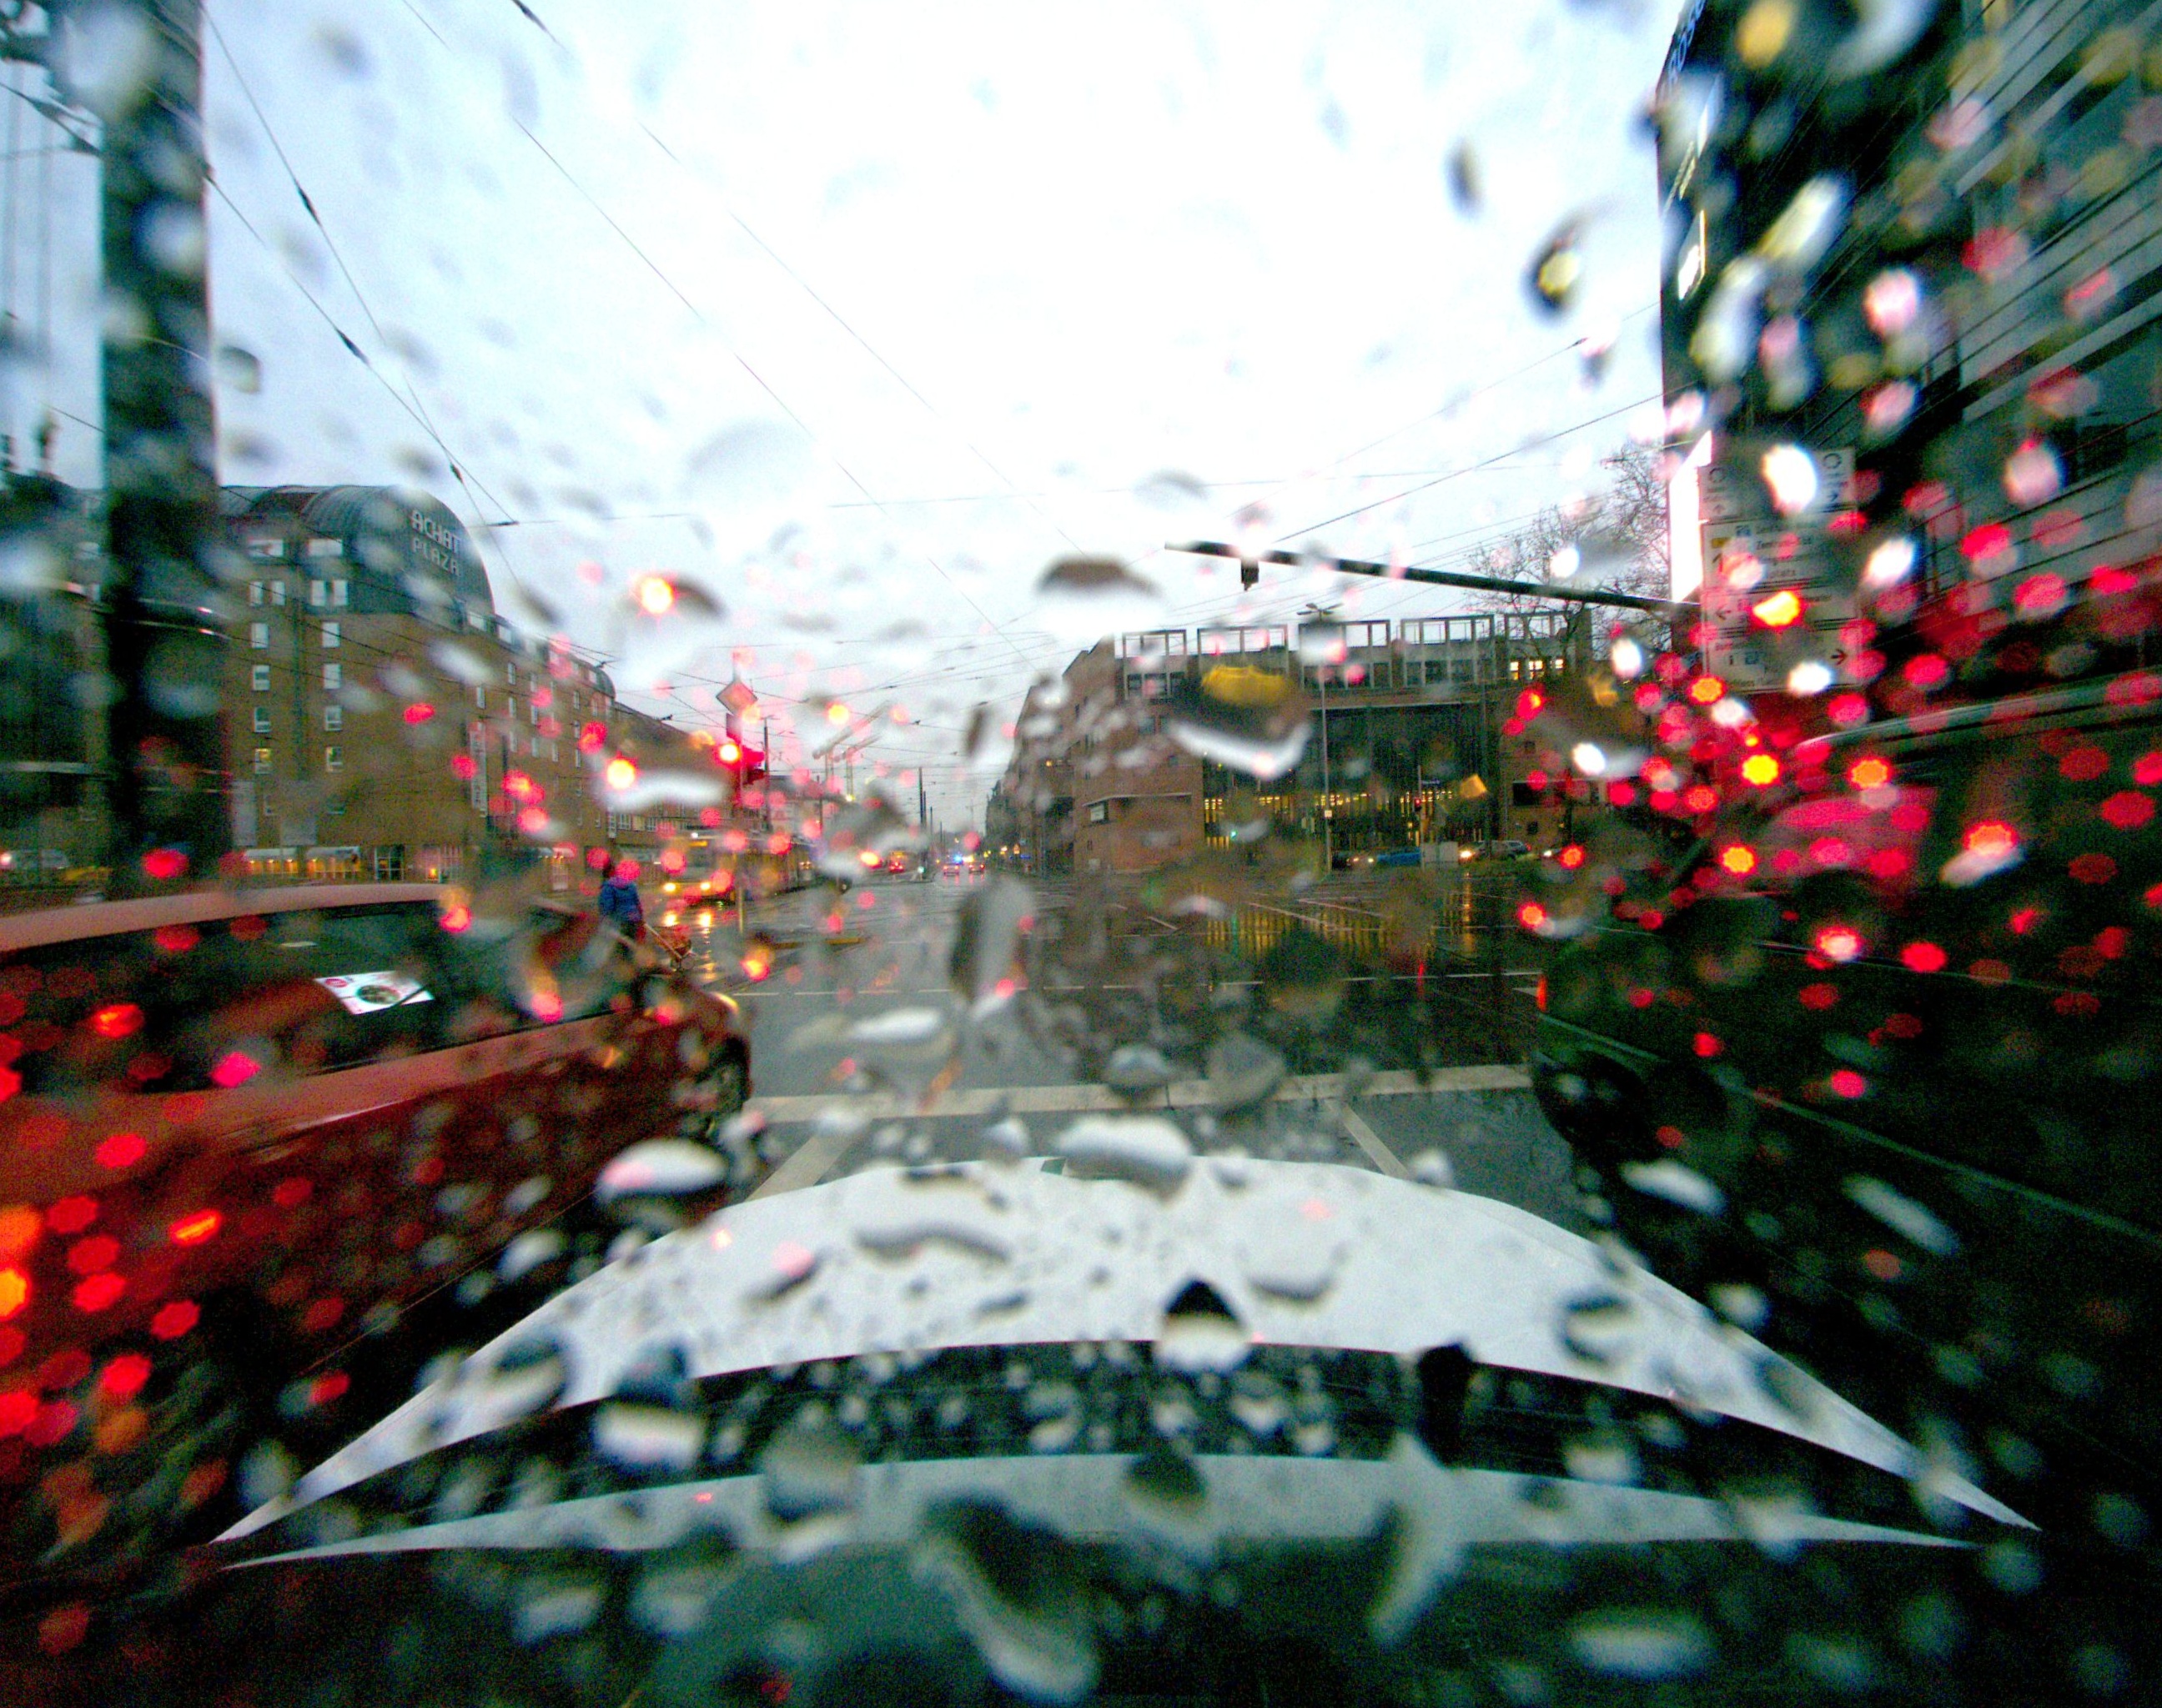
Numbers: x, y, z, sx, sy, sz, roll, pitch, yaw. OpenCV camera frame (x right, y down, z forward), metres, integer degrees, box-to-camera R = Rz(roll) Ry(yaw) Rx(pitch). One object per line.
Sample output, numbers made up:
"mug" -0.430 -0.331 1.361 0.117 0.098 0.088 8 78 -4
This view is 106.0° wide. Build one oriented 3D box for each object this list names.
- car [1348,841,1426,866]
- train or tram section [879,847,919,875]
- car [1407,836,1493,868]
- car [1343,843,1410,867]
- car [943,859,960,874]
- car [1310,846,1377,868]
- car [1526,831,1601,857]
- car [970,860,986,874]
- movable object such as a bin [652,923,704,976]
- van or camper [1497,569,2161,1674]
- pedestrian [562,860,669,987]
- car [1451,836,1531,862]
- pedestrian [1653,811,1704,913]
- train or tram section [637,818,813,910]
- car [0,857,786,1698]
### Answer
"car" 18.325 -0.051 48.808 3.979 1.262 1.845 -2 4 -4
"train or tram section" -25.801 0.941 116.754 3.189 3.436 27.753 -2 0 -8
"car" 20.450 -0.116 45.178 3.979 1.504 1.845 -2 4 -4
"car" 19.152 0.046 52.878 3.713 1.262 1.845 -2 4 -4
"car" -14.562 1.395 91.659 1.869 1.579 3.989 0 0 -8
"car" 18.248 0.209 56.728 3.977 1.310 1.998 -2 0 -2
"car" 32.165 -0.655 54.374 3.979 1.504 1.845 -2 4 -4
"car" -12.790 1.602 101.292 1.868 1.579 3.991 0 0 -6
"movable object such as a bin" -5.845 1.375 11.813 0.407 0.699 0.541 -5 -2 42
"van or camper" 2.741 0.456 1.540 1.750 1.906 4.420 -1 0 2
"pedestrian" -6.388 0.922 11.191 0.707 1.601 1.043 -5 -1 43
"car" 24.831 -0.322 49.369 3.979 1.288 1.845 -2 4 -4
"pedestrian" 12.973 0.171 17.702 0.574 2.184 0.619 -1 -1 -4
"train or tram section" -17.682 0.475 42.959 2.862 3.614 20.017 -2 0 -7
"car" -2.693 0.774 2.964 1.691 1.459 3.759 -2 0 2
